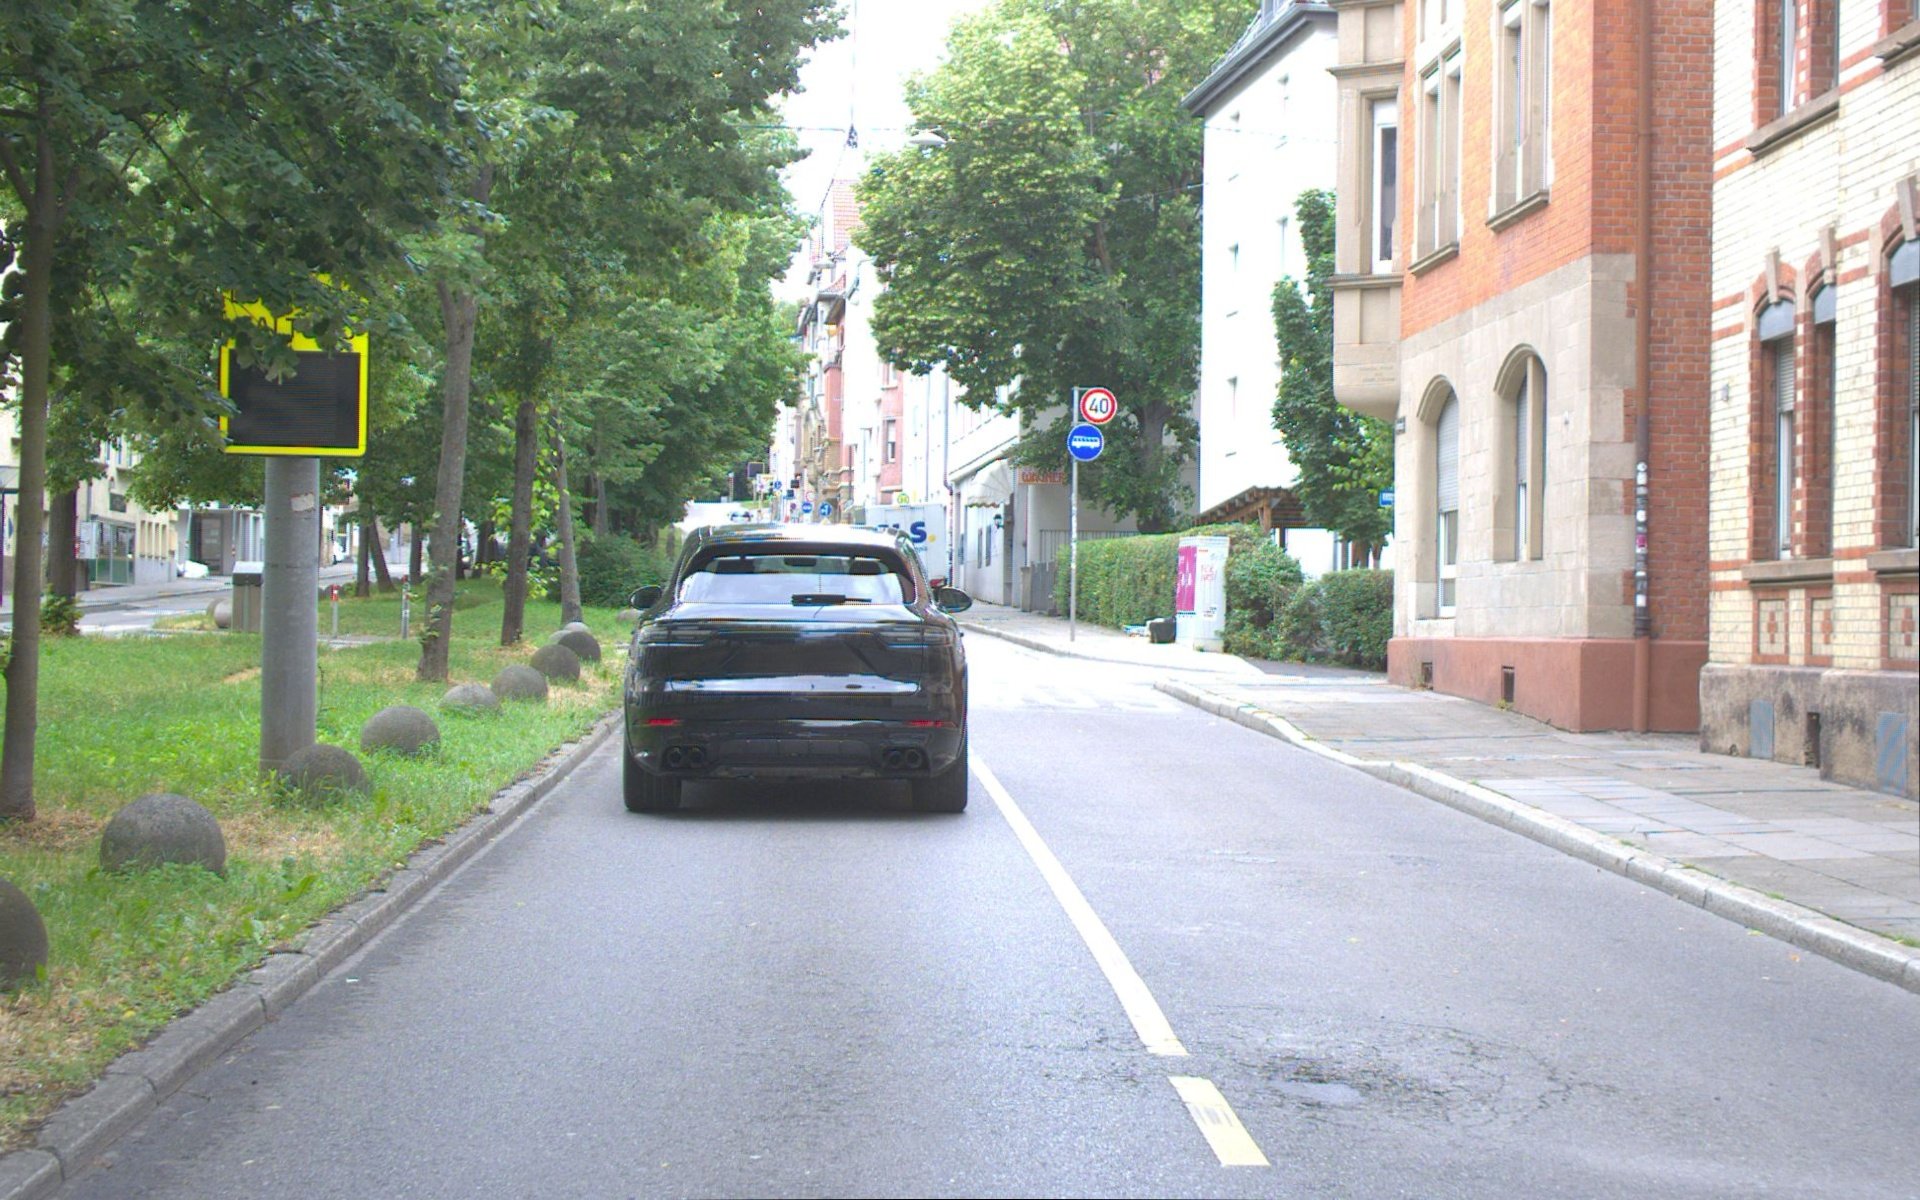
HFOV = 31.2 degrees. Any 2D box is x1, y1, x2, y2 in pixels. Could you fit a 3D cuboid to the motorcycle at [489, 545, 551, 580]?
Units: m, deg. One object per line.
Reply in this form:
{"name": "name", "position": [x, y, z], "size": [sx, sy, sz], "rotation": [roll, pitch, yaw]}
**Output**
{"name": "motorcycle", "position": [-17.366, -1.485, 135.765], "size": [2.382, 1.312, 1.046], "rotation": [1, 1, -5]}

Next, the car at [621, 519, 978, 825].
{"name": "car", "position": [-1.082, 0.374, 20.947], "size": [1.903, 1.660, 4.136], "rotation": [1, 1, -6]}

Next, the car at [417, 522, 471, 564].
{"name": "car", "position": [-22.700, -2.496, 151.224], "size": [1.948, 1.622, 4.366], "rotation": [-7, 1, -6]}

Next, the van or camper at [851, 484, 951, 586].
{"name": "van or camper", "position": [-1.756, -1.865, 99.487], "size": [2.479, 2.793, 7.239], "rotation": [1, 1, -4]}
